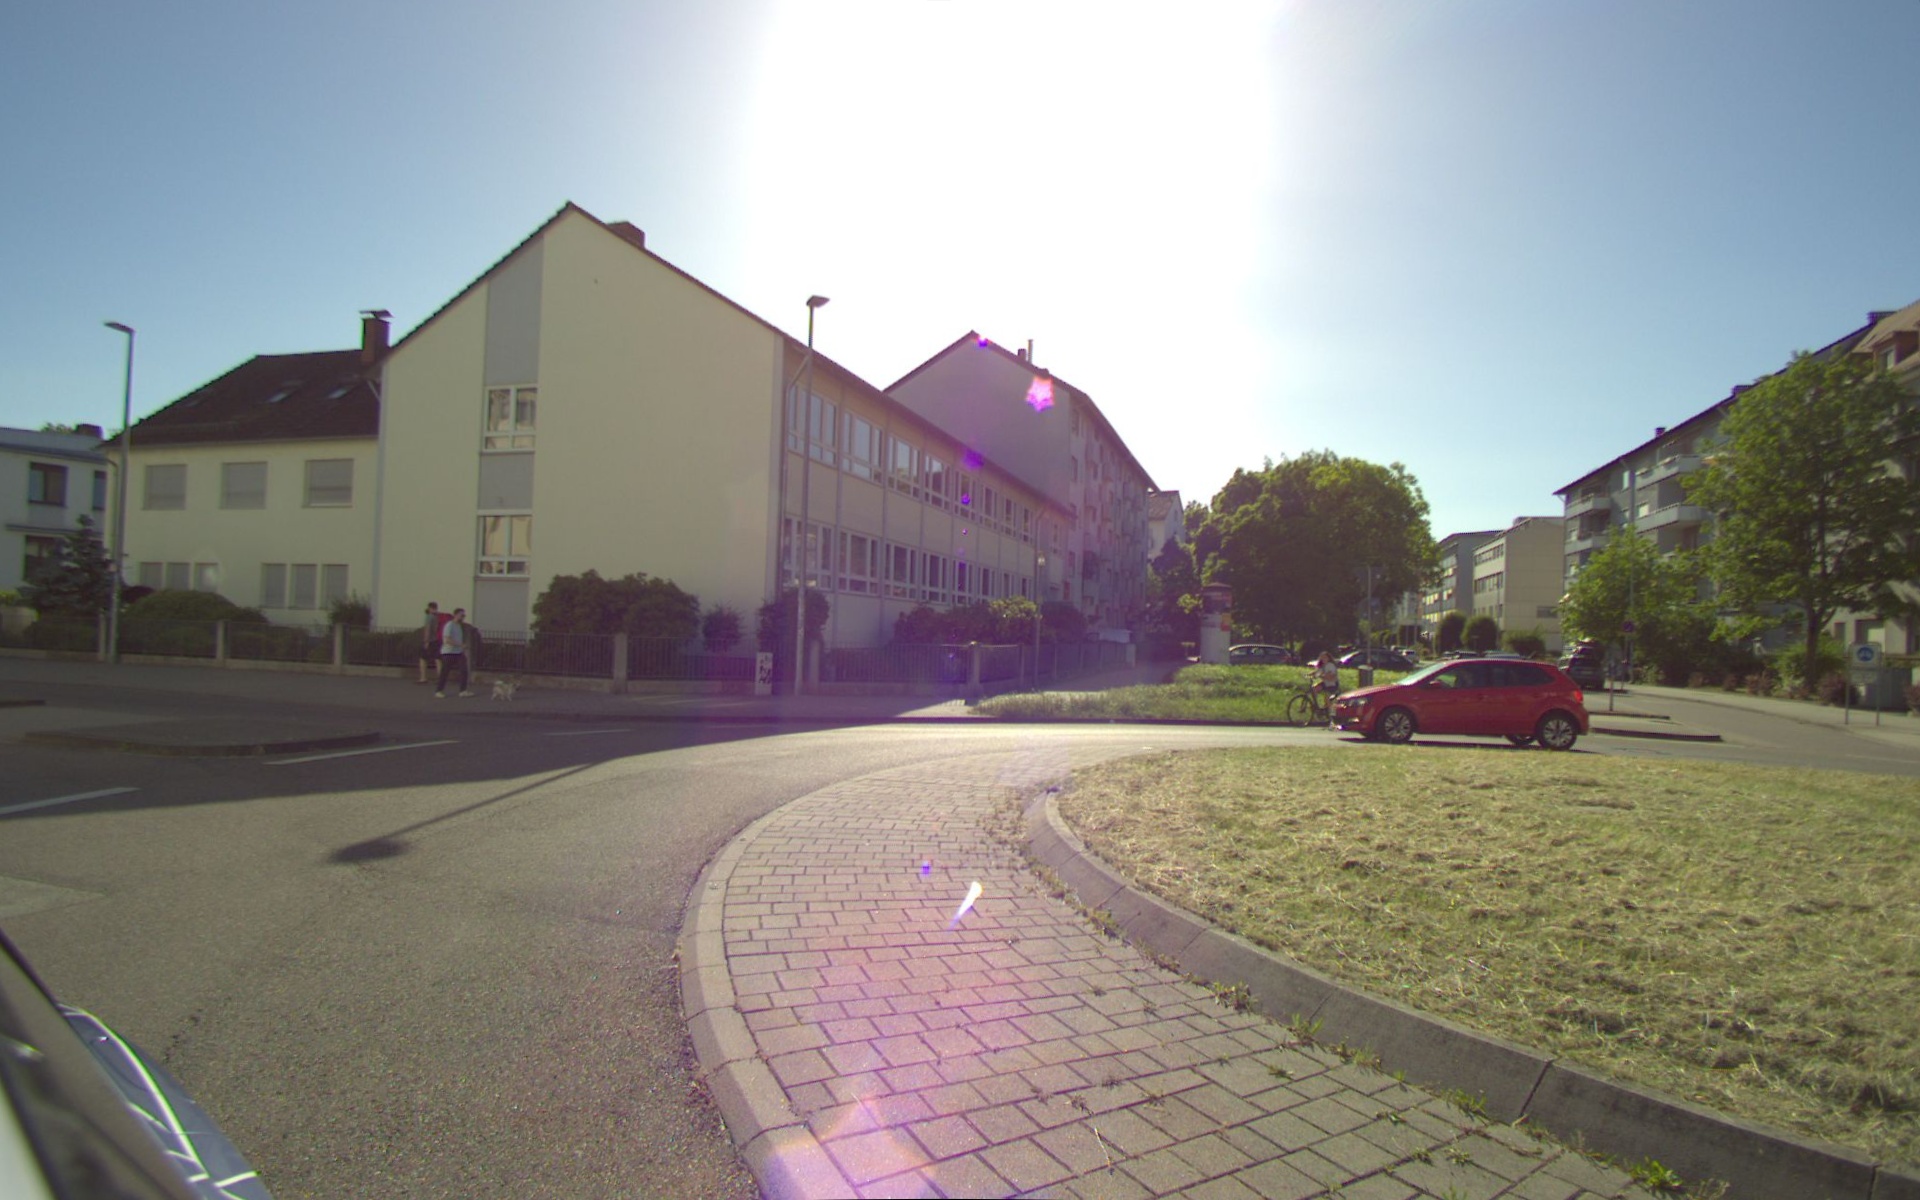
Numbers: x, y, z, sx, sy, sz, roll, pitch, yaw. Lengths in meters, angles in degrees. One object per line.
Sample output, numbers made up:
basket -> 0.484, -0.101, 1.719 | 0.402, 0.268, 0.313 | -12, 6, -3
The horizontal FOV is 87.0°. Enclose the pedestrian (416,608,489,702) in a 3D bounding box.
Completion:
pedestrian -> -9.642, 1.024, 19.241 | 0.988, 1.718, 0.689 | 1, -1, 16

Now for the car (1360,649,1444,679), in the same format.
car -> 24.517, 3.537, 56.240 | 3.961, 1.497, 1.843 | 1, -2, 14

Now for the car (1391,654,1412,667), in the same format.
car -> 48.590, 6.632, 111.386 | 1.837, 1.390, 3.974 | 1, -2, 19

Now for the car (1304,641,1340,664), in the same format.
car -> 24.854, 3.597, 69.647 | 1.833, 1.534, 3.983 | 1, -2, 13

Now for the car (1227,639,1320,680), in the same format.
car -> 15.012, 2.841, 48.473 | 3.978, 1.785, 1.982 | 1, -2, 26

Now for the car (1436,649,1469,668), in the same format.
car -> 38.358, 4.517, 78.848 | 1.837, 1.390, 3.974 | 1, -2, 19

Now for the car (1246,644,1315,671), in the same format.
car -> 19.858, 3.555, 62.731 | 3.971, 1.475, 1.814 | 1, -2, 21

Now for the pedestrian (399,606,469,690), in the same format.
pedestrian -> -11.120, 1.003, 21.392 | 0.989, 1.718, 0.815 | 1, -1, 17

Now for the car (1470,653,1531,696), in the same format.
car -> 23.905, 3.246, 44.866 | 1.868, 1.709, 4.242 | 0, -2, 21

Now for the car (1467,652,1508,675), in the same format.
car -> 35.496, 4.265, 68.155 | 1.837, 1.390, 3.974 | 1, -2, 19

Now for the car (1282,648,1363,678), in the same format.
car -> 19.872, 3.424, 55.458 | 3.978, 1.475, 1.982 | 1, -2, 26

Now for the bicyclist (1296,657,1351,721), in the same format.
bicyclist -> 7.933, 1.930, 22.105 | 0.812, 1.322, 0.813 | 2, -1, -39

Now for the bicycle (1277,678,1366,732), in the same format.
bicycle -> 7.921, 2.267, 22.121 | 2.175, 1.022, 0.813 | 2, -1, -40

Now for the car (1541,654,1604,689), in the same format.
car -> 29.902, 3.470, 49.518 | 1.837, 1.550, 3.974 | 1, -2, 19

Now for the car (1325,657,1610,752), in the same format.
car -> 8.396, 1.716, 17.096 | 3.959, 1.393, 1.710 | 0, -4, 12
